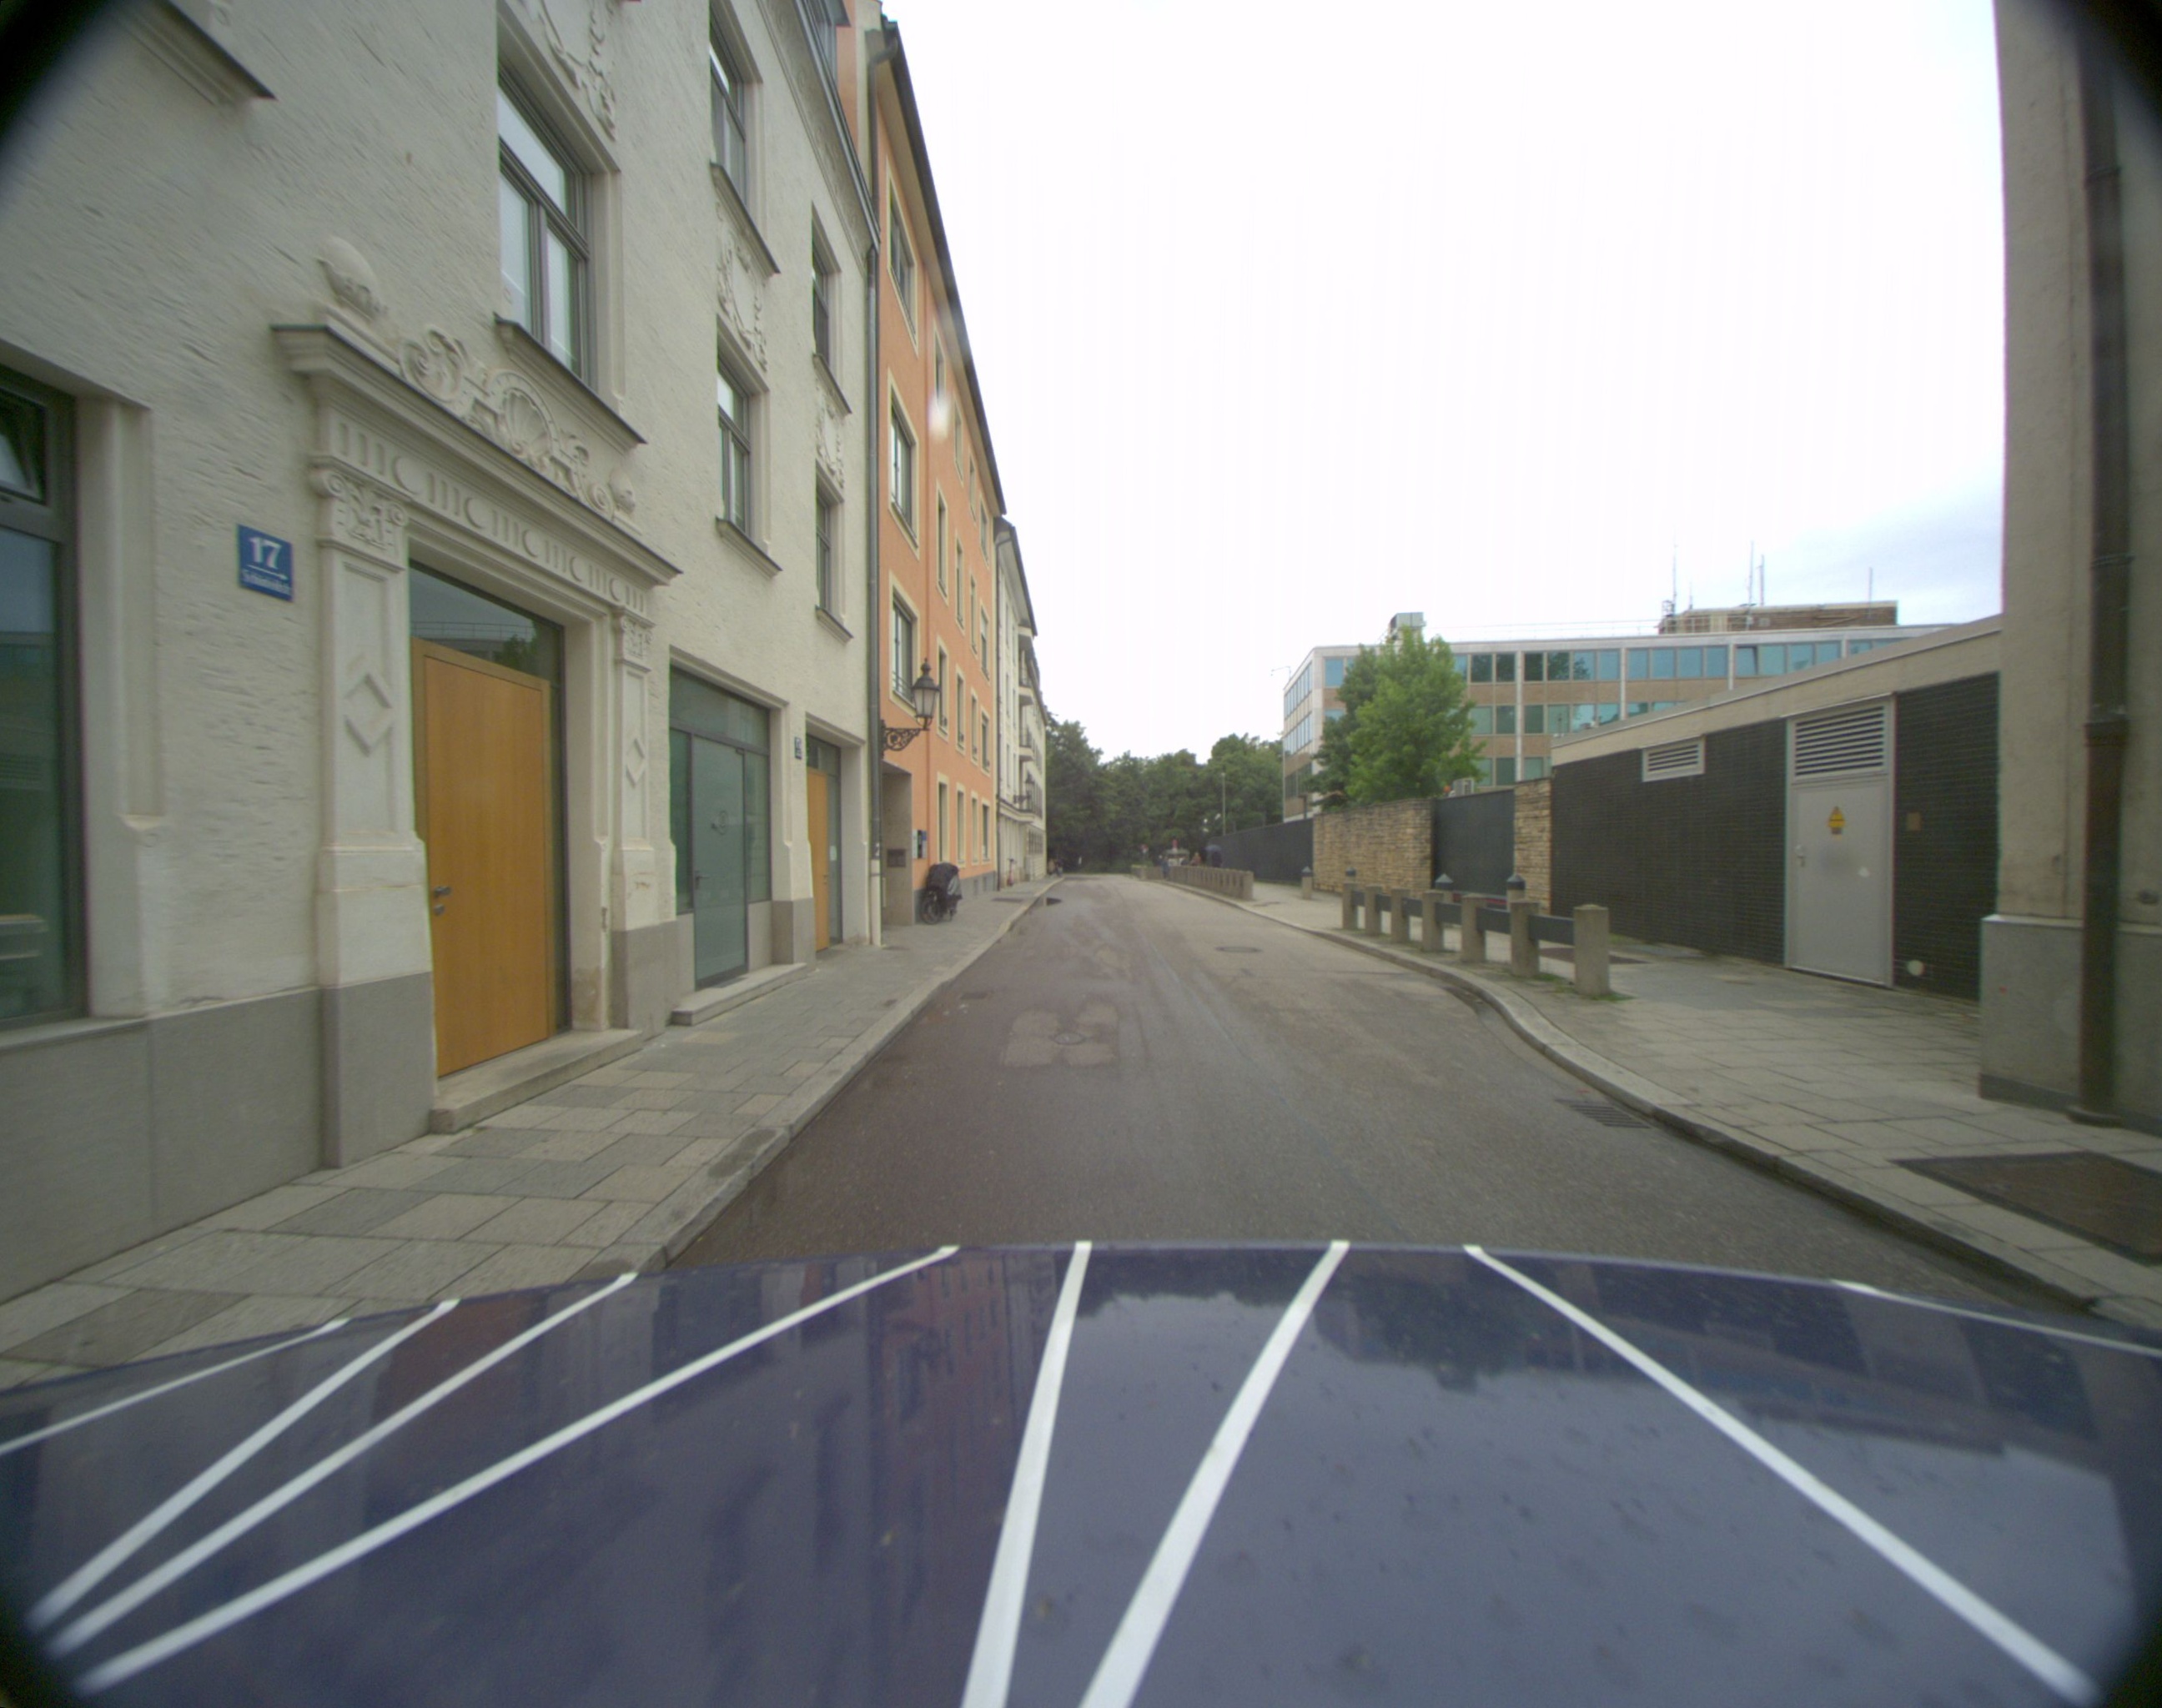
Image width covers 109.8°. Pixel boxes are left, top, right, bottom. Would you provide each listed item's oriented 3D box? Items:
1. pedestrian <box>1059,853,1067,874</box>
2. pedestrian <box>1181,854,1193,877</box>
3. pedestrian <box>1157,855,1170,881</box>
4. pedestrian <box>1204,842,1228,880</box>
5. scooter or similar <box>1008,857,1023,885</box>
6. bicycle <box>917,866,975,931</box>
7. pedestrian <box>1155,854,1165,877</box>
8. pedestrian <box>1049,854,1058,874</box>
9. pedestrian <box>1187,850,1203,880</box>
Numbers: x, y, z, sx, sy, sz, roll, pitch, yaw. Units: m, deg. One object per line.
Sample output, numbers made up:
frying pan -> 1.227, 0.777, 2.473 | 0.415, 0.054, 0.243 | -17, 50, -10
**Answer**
pedestrian -> -1.549, 0.822, 65.711 | 0.753, 1.725, 0.853 | 0, 0, -1
pedestrian -> 7.092, 0.755, 50.818 | 0.778, 1.531, 0.933 | -2, 0, 8
pedestrian -> 4.912, 0.831, 45.206 | 0.640, 1.458, 1.079 | -2, 0, 1
pedestrian -> 7.617, 0.403, 42.983 | 1.226, 2.091, 1.117 | 0, 0, 3
scooter or similar -> -3.038, 0.785, 35.253 | 0.466, 1.251, 1.275 | 2, 1, -13
bicycle -> -2.898, 0.926, 16.550 | 0.681, 1.233, 2.382 | 4, 0, 2
pedestrian -> 6.044, 0.852, 58.126 | 0.625, 1.758, 0.766 | 0, 0, 0
pedestrian -> -2.360, 0.858, 65.431 | 0.753, 1.671, 0.656 | 0, 0, -1
pedestrian -> 6.735, 0.620, 44.748 | 0.826, 1.713, 0.906 | -2, 0, 6
